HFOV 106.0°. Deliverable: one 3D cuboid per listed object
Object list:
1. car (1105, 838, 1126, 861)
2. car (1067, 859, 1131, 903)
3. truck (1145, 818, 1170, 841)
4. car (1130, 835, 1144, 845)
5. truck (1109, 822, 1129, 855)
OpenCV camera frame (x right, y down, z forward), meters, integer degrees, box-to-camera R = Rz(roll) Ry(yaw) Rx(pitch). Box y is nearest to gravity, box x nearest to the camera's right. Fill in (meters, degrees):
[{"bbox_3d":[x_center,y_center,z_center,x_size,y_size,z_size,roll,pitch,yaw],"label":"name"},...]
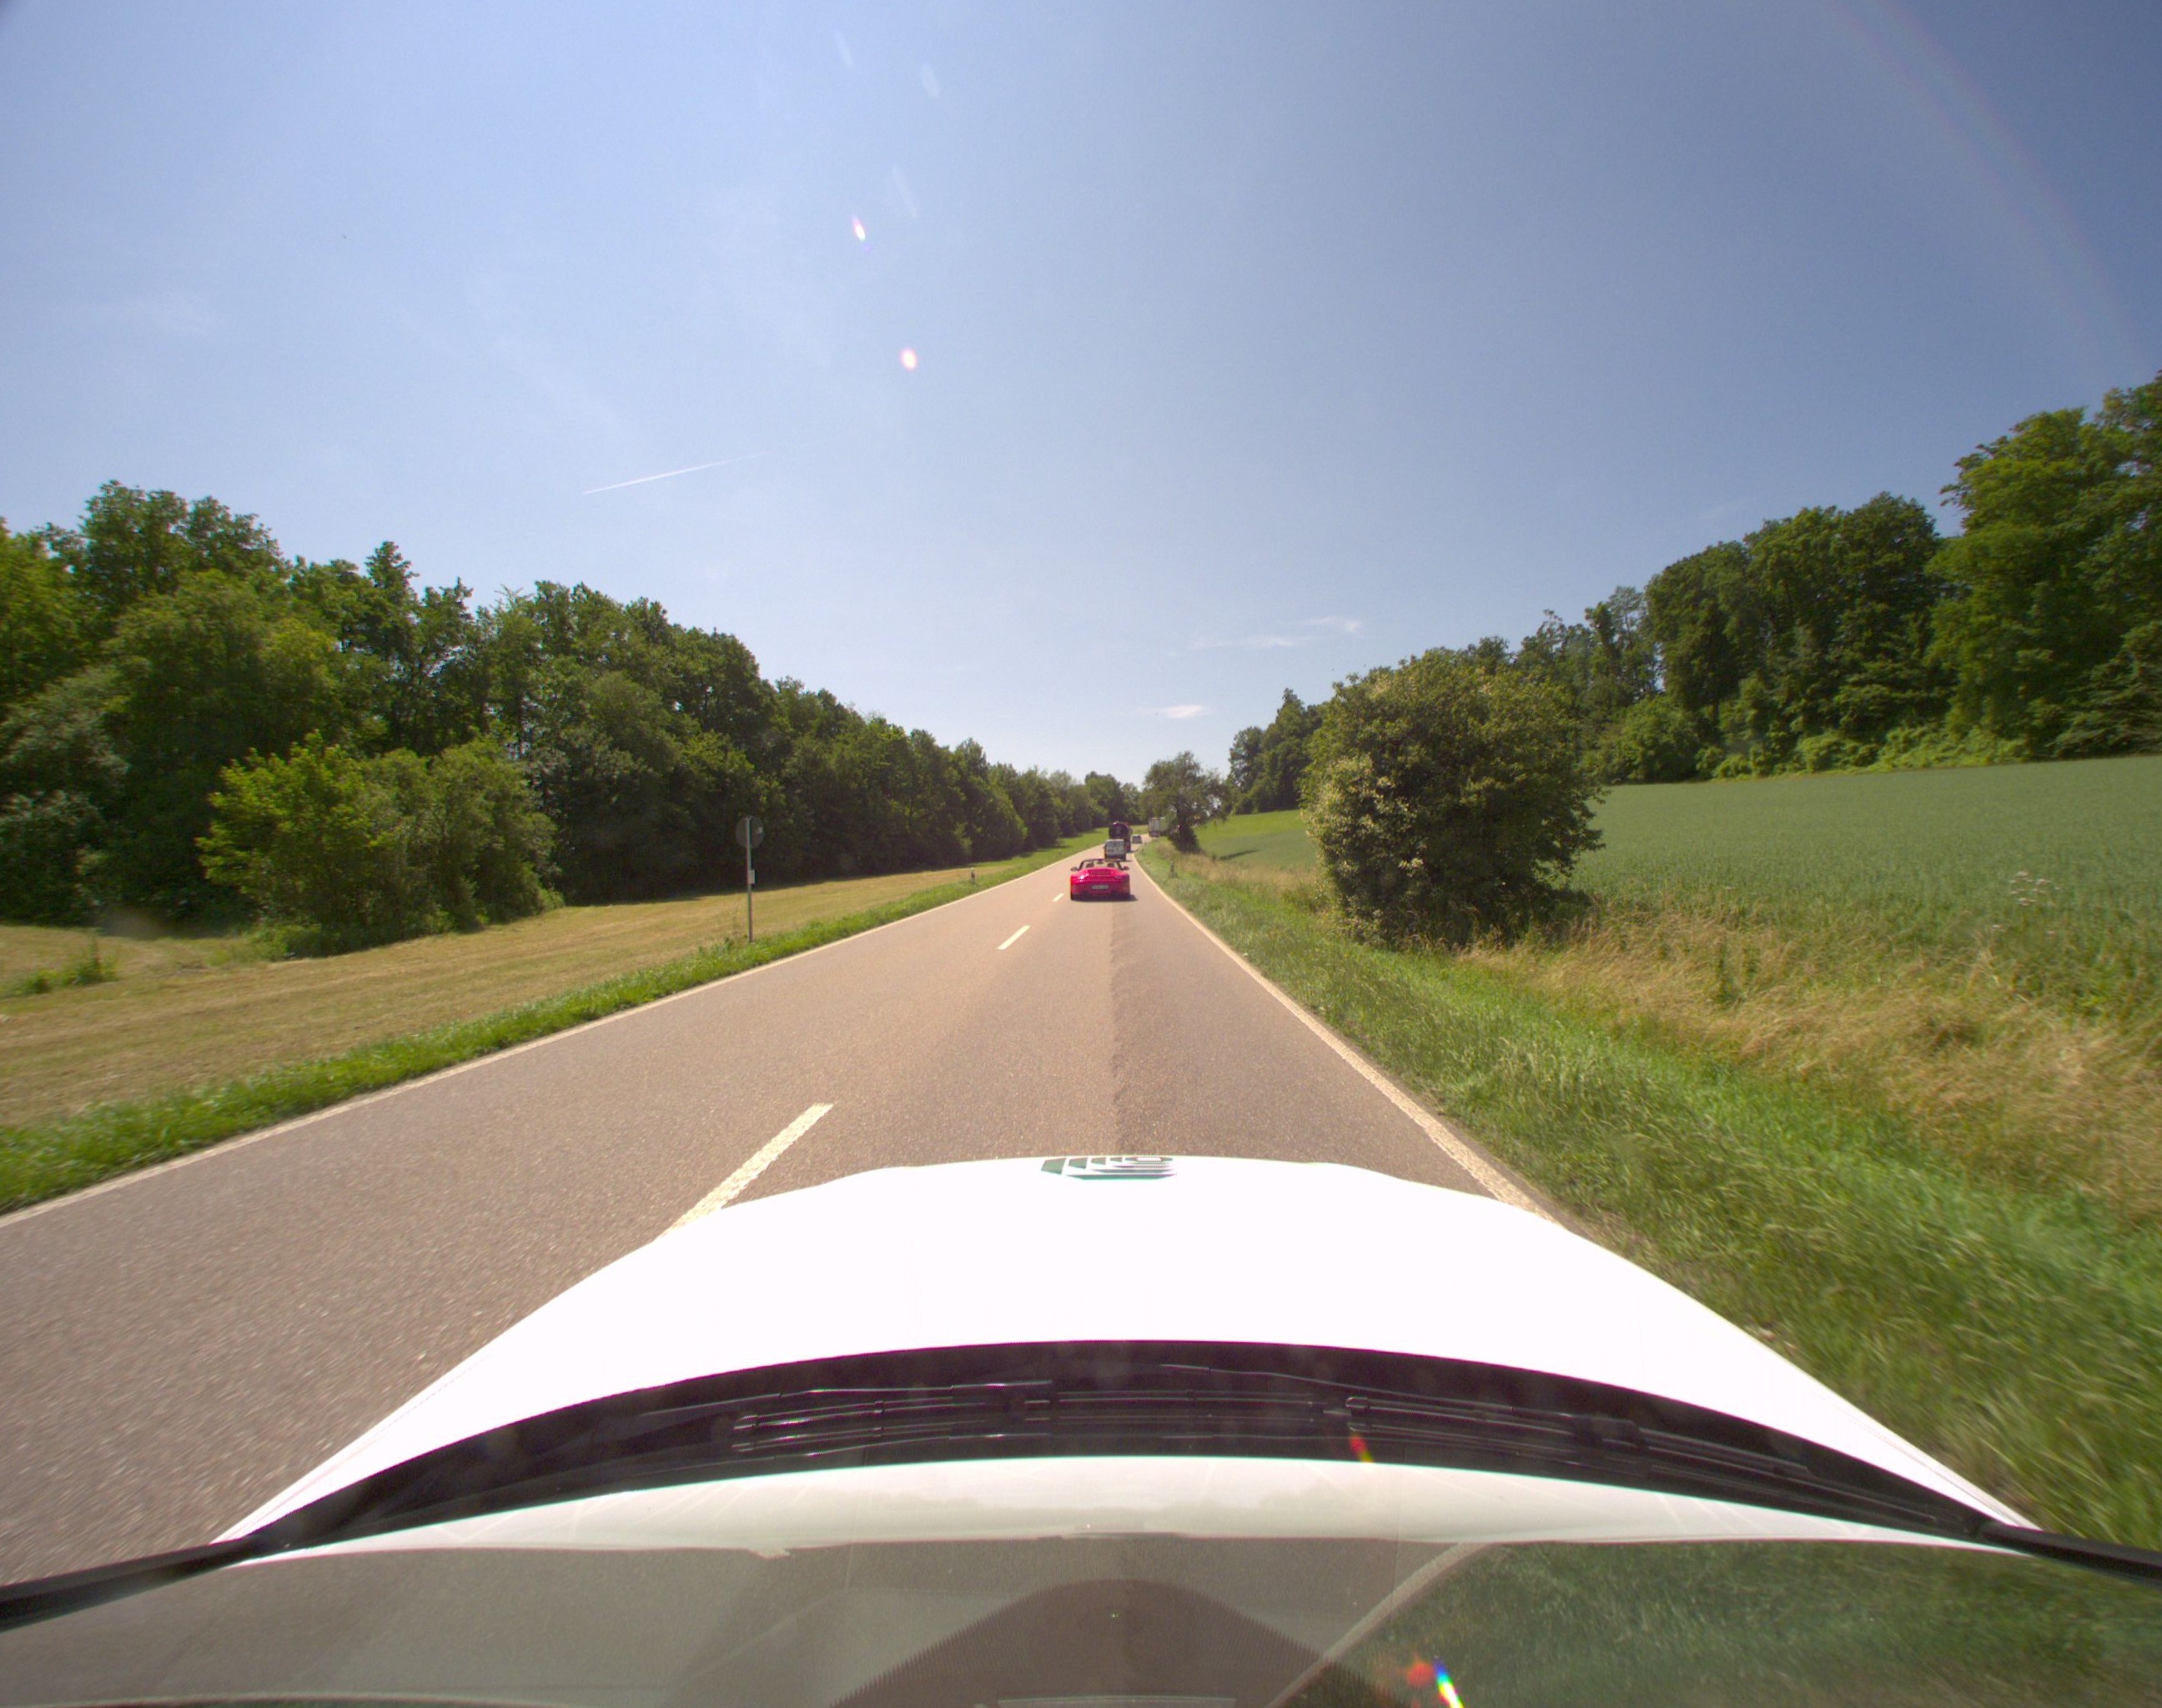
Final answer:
[{"bbox_3d":[2.983,-0.400,70.847,1.672,1.900,4.012,-1,1,2],"label":"car"},{"bbox_3d":[0.625,0.807,26.333,1.875,1.255,4.011,-1,0,2],"label":"car"},{"bbox_3d":[17.120,-5.585,180.794,3.699,4.659,12.077,-1,3,13],"label":"truck"},{"bbox_3d":[10.052,-2.523,146.392,1.819,1.513,4.205,-3,3,11],"label":"car"},{"bbox_3d":[4.920,-2.002,106.924,2.395,4.049,12.555,-1,1,1],"label":"truck"}]
